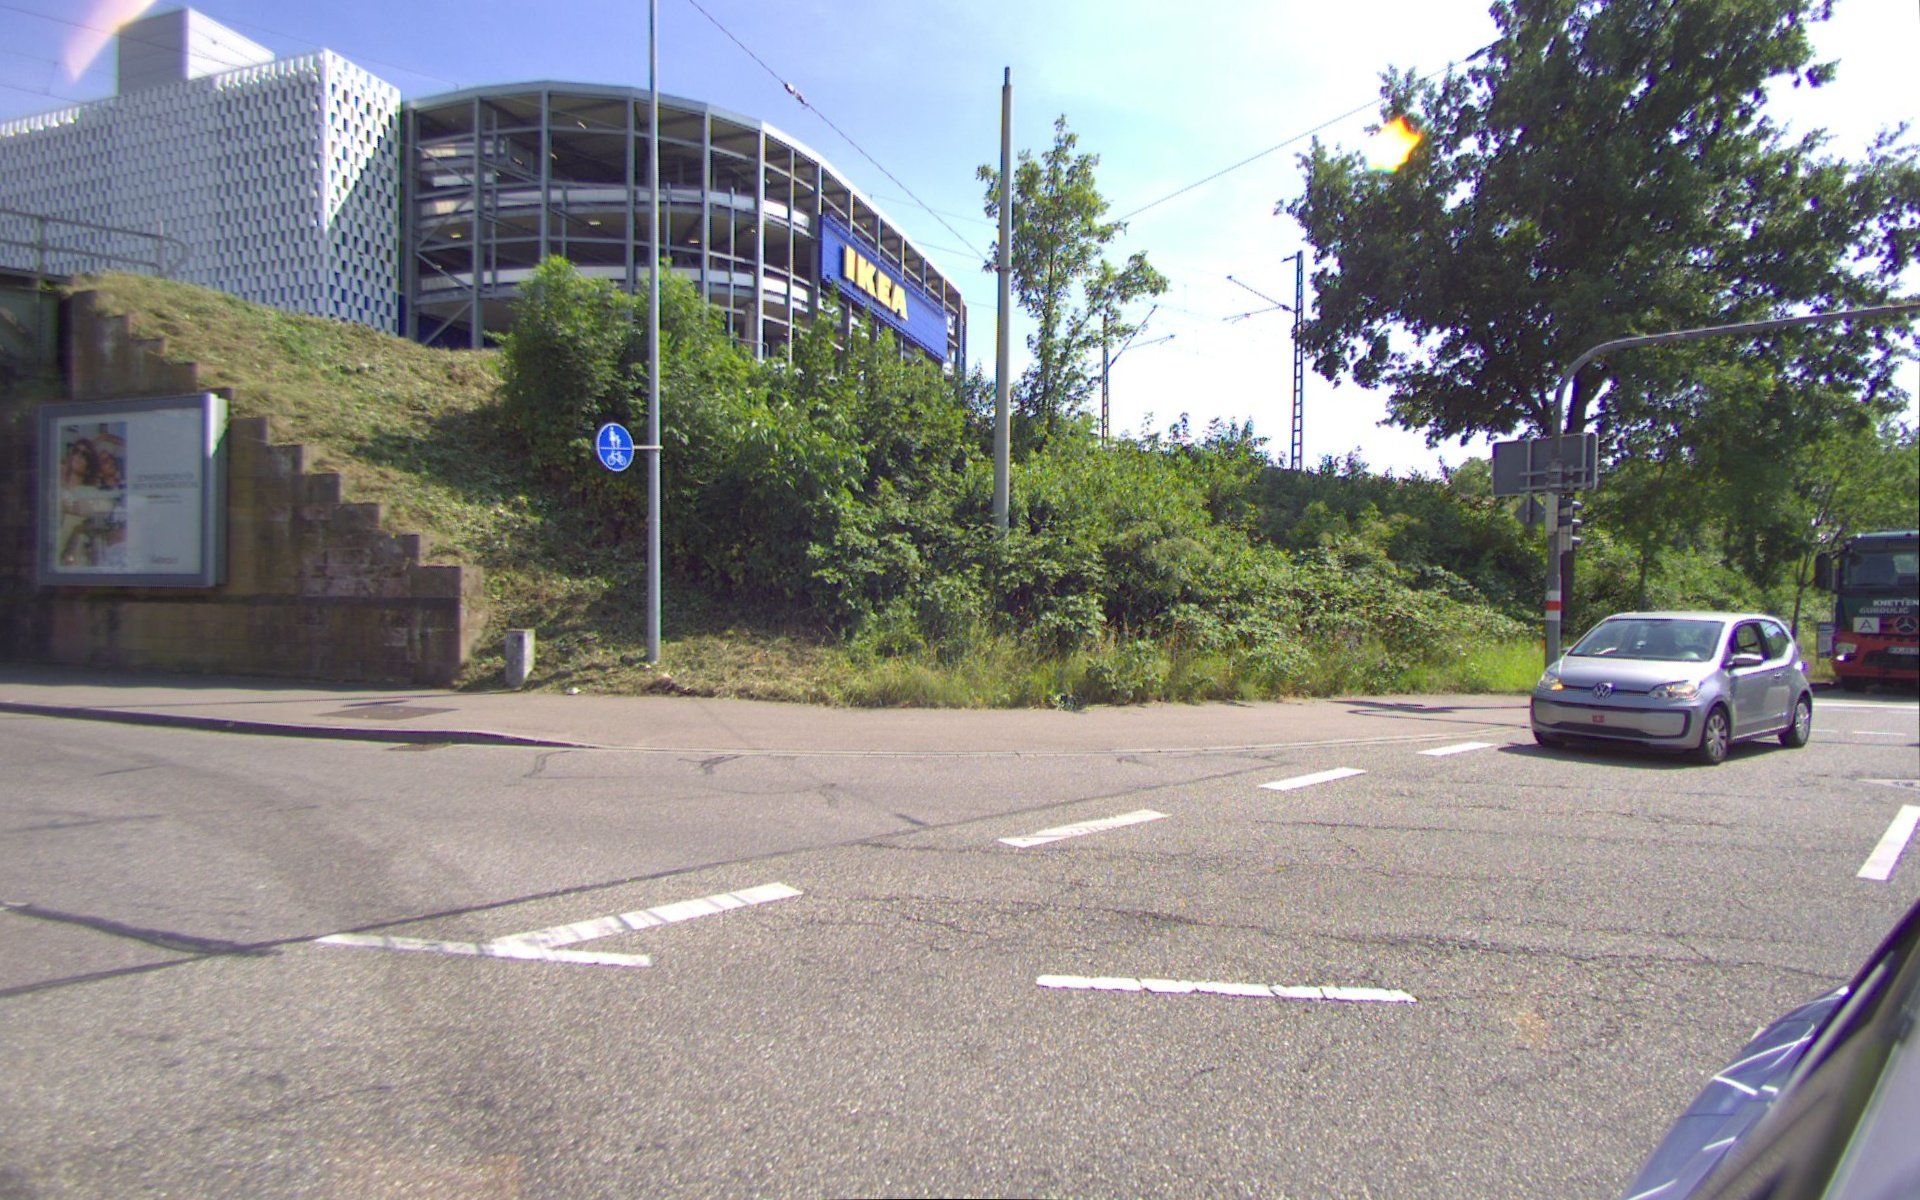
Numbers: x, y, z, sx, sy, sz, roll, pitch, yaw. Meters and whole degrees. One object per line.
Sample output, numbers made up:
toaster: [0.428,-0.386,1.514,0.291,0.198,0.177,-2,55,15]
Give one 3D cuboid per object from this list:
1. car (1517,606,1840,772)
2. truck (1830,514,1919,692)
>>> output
car: [7.716,0.810,10.786,3.608,1.455,1.706,1,0,-35]
truck: [20.779,0.089,21.159,7.349,3.308,2.774,1,0,-40]
